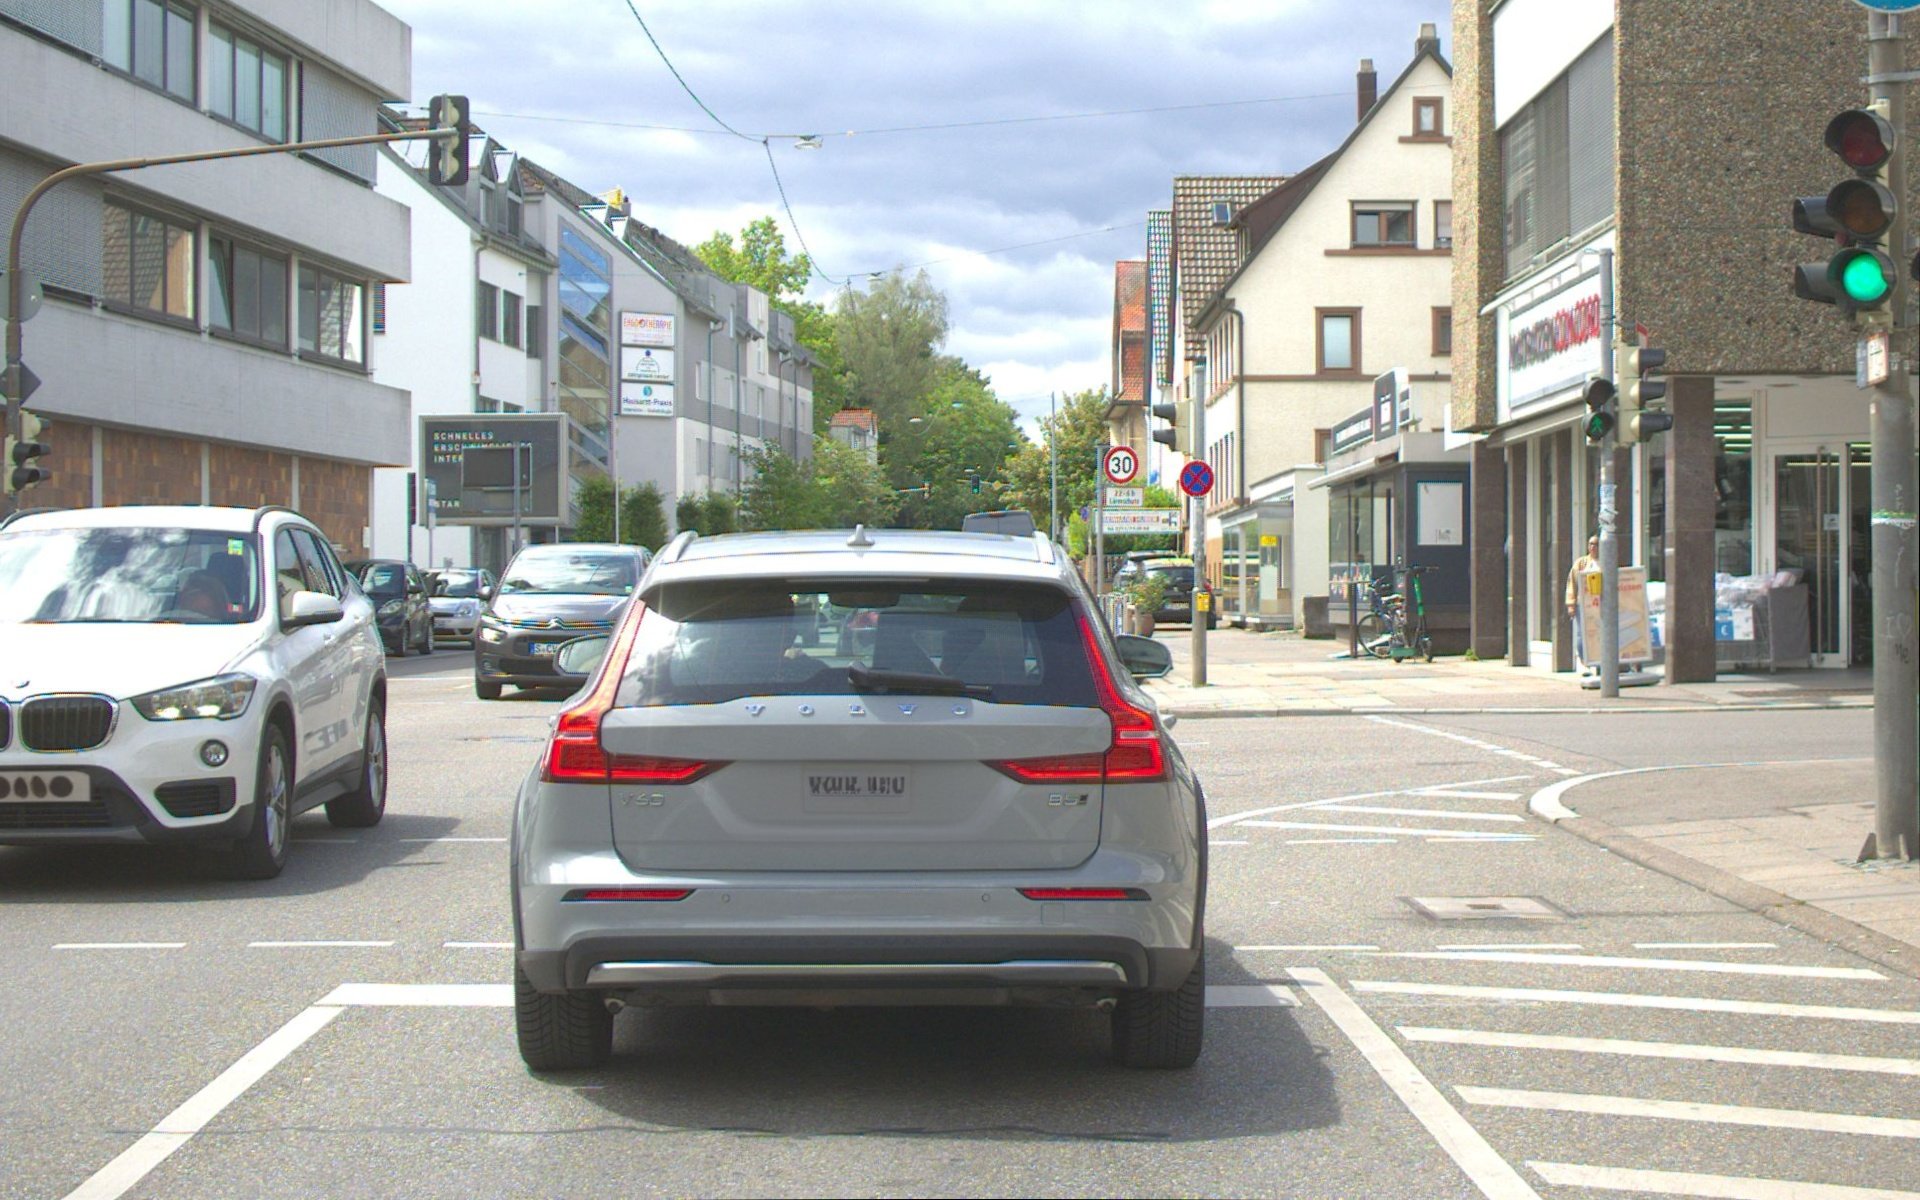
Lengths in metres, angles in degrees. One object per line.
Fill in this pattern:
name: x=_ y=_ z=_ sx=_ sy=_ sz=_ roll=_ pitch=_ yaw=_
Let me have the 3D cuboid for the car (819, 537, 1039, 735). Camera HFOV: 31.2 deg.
car: x=-0.248 y=0.270 z=27.925 sx=1.650 sy=1.477 sz=3.607 roll=1 pitch=0 yaw=0

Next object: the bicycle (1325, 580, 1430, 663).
bicycle: x=5.876 y=0.288 z=48.480 sx=0.554 sy=1.140 sz=2.301 roll=-1 pitch=1 yaw=-17

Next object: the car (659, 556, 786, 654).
car: x=-3.803 y=0.063 z=55.539 sx=1.683 sy=1.492 sz=3.967 roll=-1 pitch=0 yaw=1

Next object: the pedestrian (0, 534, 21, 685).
pedestrian: x=-10.626 y=0.102 z=37.392 sx=0.619 sy=1.636 sz=0.660 roll=0 pitch=0 yaw=1

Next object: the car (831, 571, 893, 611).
car: x=-3.564 y=-0.342 z=125.739 sx=1.762 sy=1.421 sz=3.999 roll=-1 pitch=0 yaw=5

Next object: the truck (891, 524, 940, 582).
truck: x=-2.270 y=-2.393 z=176.492 sx=2.276 sy=2.877 sz=7.079 roll=-1 pitch=1 yaw=1

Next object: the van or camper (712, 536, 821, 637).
van or camper: x=-3.766 y=-0.302 z=67.544 sx=1.864 sy=1.891 sz=4.692 roll=0 pitch=1 yaw=0

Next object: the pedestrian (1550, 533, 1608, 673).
pedestrian: x=6.550 y=0.028 z=36.386 sx=0.504 sy=1.454 sz=0.499 roll=-3 pitch=0 yaw=14

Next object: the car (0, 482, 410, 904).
car: x=-3.756 y=0.350 z=15.607 sx=1.780 sy=1.634 sz=4.220 roll=-1 pitch=1 yaw=0

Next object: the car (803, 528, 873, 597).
car: x=-3.467 y=-1.053 z=98.424 sx=1.838 sy=1.911 sz=4.156 roll=1 pitch=0 yaw=0

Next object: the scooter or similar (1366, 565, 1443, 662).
scooter or similar: x=5.893 y=0.186 z=45.657 sx=0.340 sy=1.249 sz=1.246 roll=-2 pitch=0 yaw=-26

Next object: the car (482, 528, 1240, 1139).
car: x=-0.255 y=0.526 z=10.341 sx=1.836 sy=1.481 sz=4.000 roll=0 pitch=1 yaw=0

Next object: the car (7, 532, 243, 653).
car: x=-10.756 y=-0.100 z=44.563 sx=1.785 sy=1.459 sz=4.086 roll=1 pitch=0 yaw=4

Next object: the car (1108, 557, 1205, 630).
car: x=4.168 y=-0.113 z=73.454 sx=1.710 sy=1.459 sz=4.000 roll=1 pitch=-1 yaw=-2

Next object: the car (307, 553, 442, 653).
car: x=-9.513 y=0.030 z=56.010 sx=1.607 sy=1.538 sz=2.944 roll=2 pitch=1 yaw=1

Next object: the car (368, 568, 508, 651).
car: x=-9.428 y=0.150 z=62.363 sx=1.755 sy=1.422 sz=3.862 roll=-1 pitch=0 yaw=3

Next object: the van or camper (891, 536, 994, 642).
van or camper: x=-0.323 y=-0.172 z=62.792 sx=1.819 sy=1.829 sz=4.000 roll=0 pitch=-1 yaw=0

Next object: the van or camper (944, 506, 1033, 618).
van or camper: x=0.723 y=-0.948 z=85.324 sx=2.123 sy=2.677 sz=4.781 roll=-1 pitch=1 yaw=1

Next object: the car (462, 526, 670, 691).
car: x=-4.063 y=0.073 z=35.981 sx=1.789 sy=1.584 sz=4.101 roll=-1 pitch=0 yaw=-2
